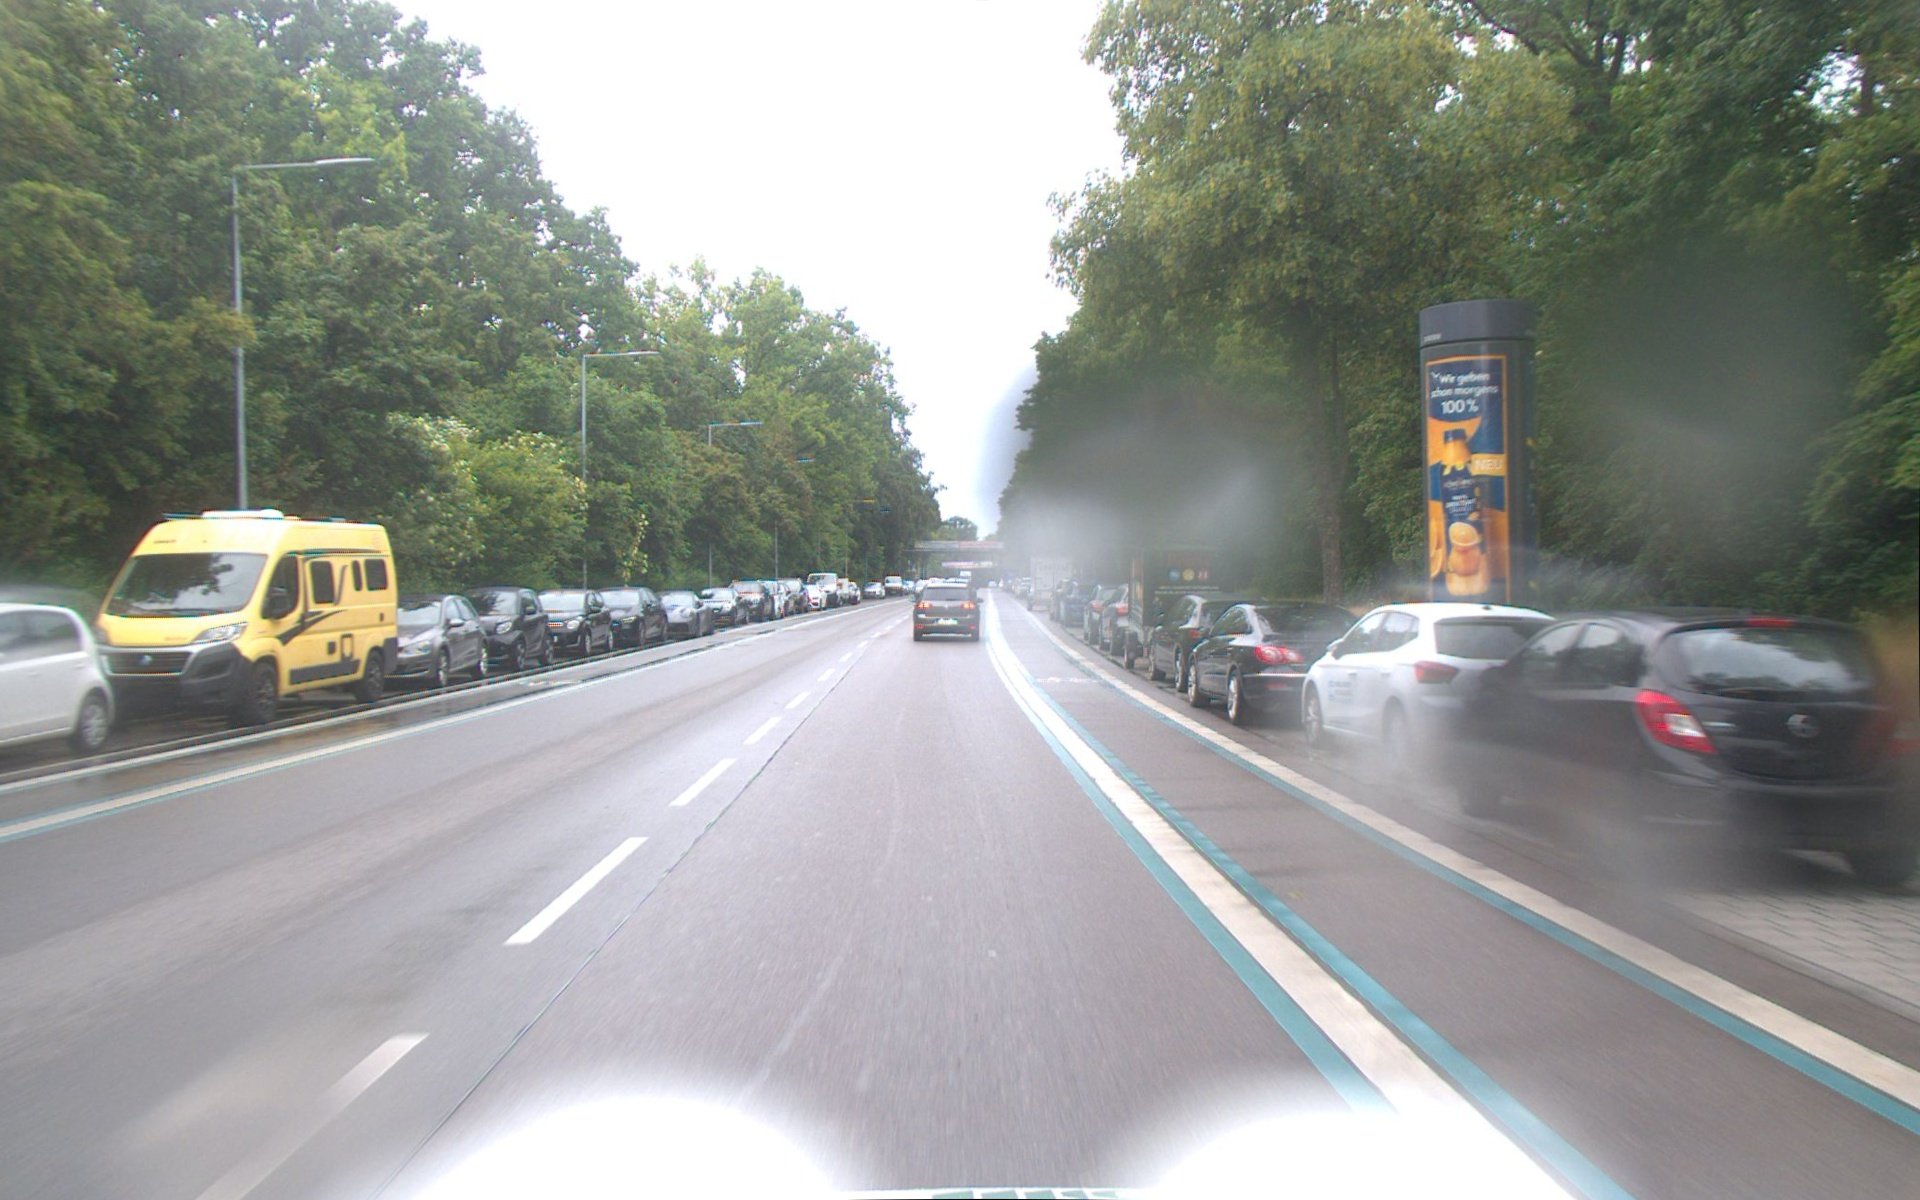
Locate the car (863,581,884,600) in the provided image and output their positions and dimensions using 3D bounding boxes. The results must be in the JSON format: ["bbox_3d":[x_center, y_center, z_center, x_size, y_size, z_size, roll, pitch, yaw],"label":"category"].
[{"bbox_3d":[-7.345,-0.821,140.996,1.638,1.540,3.630,1,1,0],"label":"car"}]

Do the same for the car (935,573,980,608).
[{"bbox_3d":[-0.136,-0.430,74.298,1.843,1.491,3.998,2,1,-3],"label":"car"}]

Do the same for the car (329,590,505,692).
[{"bbox_3d":[-8.968,0.622,27.651,1.645,1.524,4.147,-1,1,-2],"label":"car"}]

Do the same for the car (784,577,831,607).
[{"bbox_3d":[-7.877,-0.441,85.622,1.952,1.514,4.469,0,1,1],"label":"car"}]

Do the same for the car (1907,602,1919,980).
[{"bbox_3d":[4.624,0.776,4.791,1.528,1.486,3.674,1,0,-3],"label":"car"}]

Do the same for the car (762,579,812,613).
[{"bbox_3d":[-8.248,-0.216,79.089,1.840,1.588,4.469,0,1,1],"label":"car"}]

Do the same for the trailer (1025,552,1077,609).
[{"bbox_3d":[4.257,-0.914,77.786,2.089,2.605,4.296,0,1,-2],"label":"trailer"}]

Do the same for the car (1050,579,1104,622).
[{"bbox_3d":[4.263,-0.012,60.799,1.678,1.539,3.975,0,1,-1],"label":"car"}]

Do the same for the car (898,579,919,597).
[{"bbox_3d":[-5.922,-1.400,190.368,2.114,2.049,5.032,0,1,2],"label":"car"}]

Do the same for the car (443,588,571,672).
[{"bbox_3d":[-8.805,0.553,32.366,1.569,1.536,3.139,0,1,2],"label":"car"}]

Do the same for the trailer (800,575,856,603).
[{"bbox_3d":[-8.021,-0.686,100.978,1.596,1.657,3.664,0,1,31],"label":"trailer"}]

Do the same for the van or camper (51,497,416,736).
[{"bbox_3d":[-9.097,0.153,21.423,2.099,2.673,5.683,0,1,1],"label":"van or camper"}]

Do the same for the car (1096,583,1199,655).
[{"bbox_3d":[4.085,0.371,36.614,1.758,1.475,4.428,0,1,0],"label":"car"}]

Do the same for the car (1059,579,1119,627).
[{"bbox_3d":[4.250,0.067,54.831,1.647,1.507,4.319,1,1,0],"label":"car"}]

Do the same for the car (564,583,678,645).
[{"bbox_3d":[-8.612,0.326,42.383,1.952,1.477,4.140,0,1,2],"label":"car"}]

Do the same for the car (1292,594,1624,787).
[{"bbox_3d":[4.351,0.713,15.093,1.586,1.492,3.997,1,0,-4],"label":"car"}]

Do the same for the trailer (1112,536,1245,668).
[{"bbox_3d":[4.036,0.004,31.221,1.867,2.287,4.768,0,1,0],"label":"trailer"}]

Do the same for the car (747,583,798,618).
[{"bbox_3d":[-8.254,0.002,73.006,1.771,1.514,4.468,0,1,0],"label":"car"}]

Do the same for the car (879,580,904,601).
[{"bbox_3d":[-6.872,-0.972,166.153,2.114,2.049,5.032,0,1,2],"label":"car"}]

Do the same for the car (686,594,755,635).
[{"bbox_3d":[-8.282,0.468,57.454,1.661,1.323,4.193,0,1,1],"label":"car"}]

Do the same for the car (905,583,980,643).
[{"bbox_3d":[-0.485,0.356,43.270,1.833,1.466,4.295,1,-1,-1],"label":"car"}]

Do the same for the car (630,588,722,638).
[{"bbox_3d":[-8.025,0.329,47.096,1.831,1.326,4.470,0,1,0],"label":"car"}]

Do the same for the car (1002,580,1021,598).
[{"bbox_3d":[5.762,-1.251,185.947,1.953,2.049,4.000,0,0,0],"label":"car"}]

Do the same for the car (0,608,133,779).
[{"bbox_3d":[-9.240,0.854,14.970,1.584,1.474,3.657,-1,1,1],"label":"car"}]

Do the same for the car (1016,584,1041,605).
[{"bbox_3d":[5.412,-0.471,130.888,1.858,1.634,4.001,0,1,1],"label":"car"}]

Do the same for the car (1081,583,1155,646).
[{"bbox_3d":[3.989,0.332,42.235,1.581,1.496,4.001,1,1,1],"label":"car"}]

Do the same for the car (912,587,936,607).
[{"bbox_3d":[-2.779,-0.244,128.324,1.663,1.510,4.035,-1,1,1],"label":"car"}]

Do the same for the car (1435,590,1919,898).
[{"bbox_3d":[4.361,0.723,10.312,1.625,1.490,3.900,2,1,0],"label":"car"}]

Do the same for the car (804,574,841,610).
[{"bbox_3d":[-7.952,-0.491,96.003,1.901,2.049,4.738,0,1,-2],"label":"car"}]

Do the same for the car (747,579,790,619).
[{"bbox_3d":[-7.791,-0.053,67.476,1.431,1.598,2.984,0,1,-1],"label":"car"}]

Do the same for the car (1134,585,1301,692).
[{"bbox_3d":[3.985,0.547,26.227,1.786,1.511,4.198,2,0,-3],"label":"car"}]

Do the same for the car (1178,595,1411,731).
[{"bbox_3d":[3.930,0.681,20.195,1.717,1.418,4.443,2,0,-3],"label":"car"}]

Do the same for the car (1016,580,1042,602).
[{"bbox_3d":[5.258,-0.696,126.271,1.858,1.634,4.001,0,1,1],"label":"car"}]

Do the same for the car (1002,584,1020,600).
[{"bbox_3d":[5.943,-0.894,193.357,1.952,1.803,4.000,-2,0,1],"label":"car"}]

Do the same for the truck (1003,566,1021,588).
[{"bbox_3d":[6.333,-2.791,201.006,2.069,2.644,4.301,0,1,1],"label":"truck"}]

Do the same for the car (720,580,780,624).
[{"bbox_3d":[-7.955,0.033,62.964,1.661,1.611,4.140,0,1,1],"label":"car"}]

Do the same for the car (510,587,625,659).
[{"bbox_3d":[-8.879,0.483,37.715,1.569,1.536,3.978,0,1,2],"label":"car"}]
